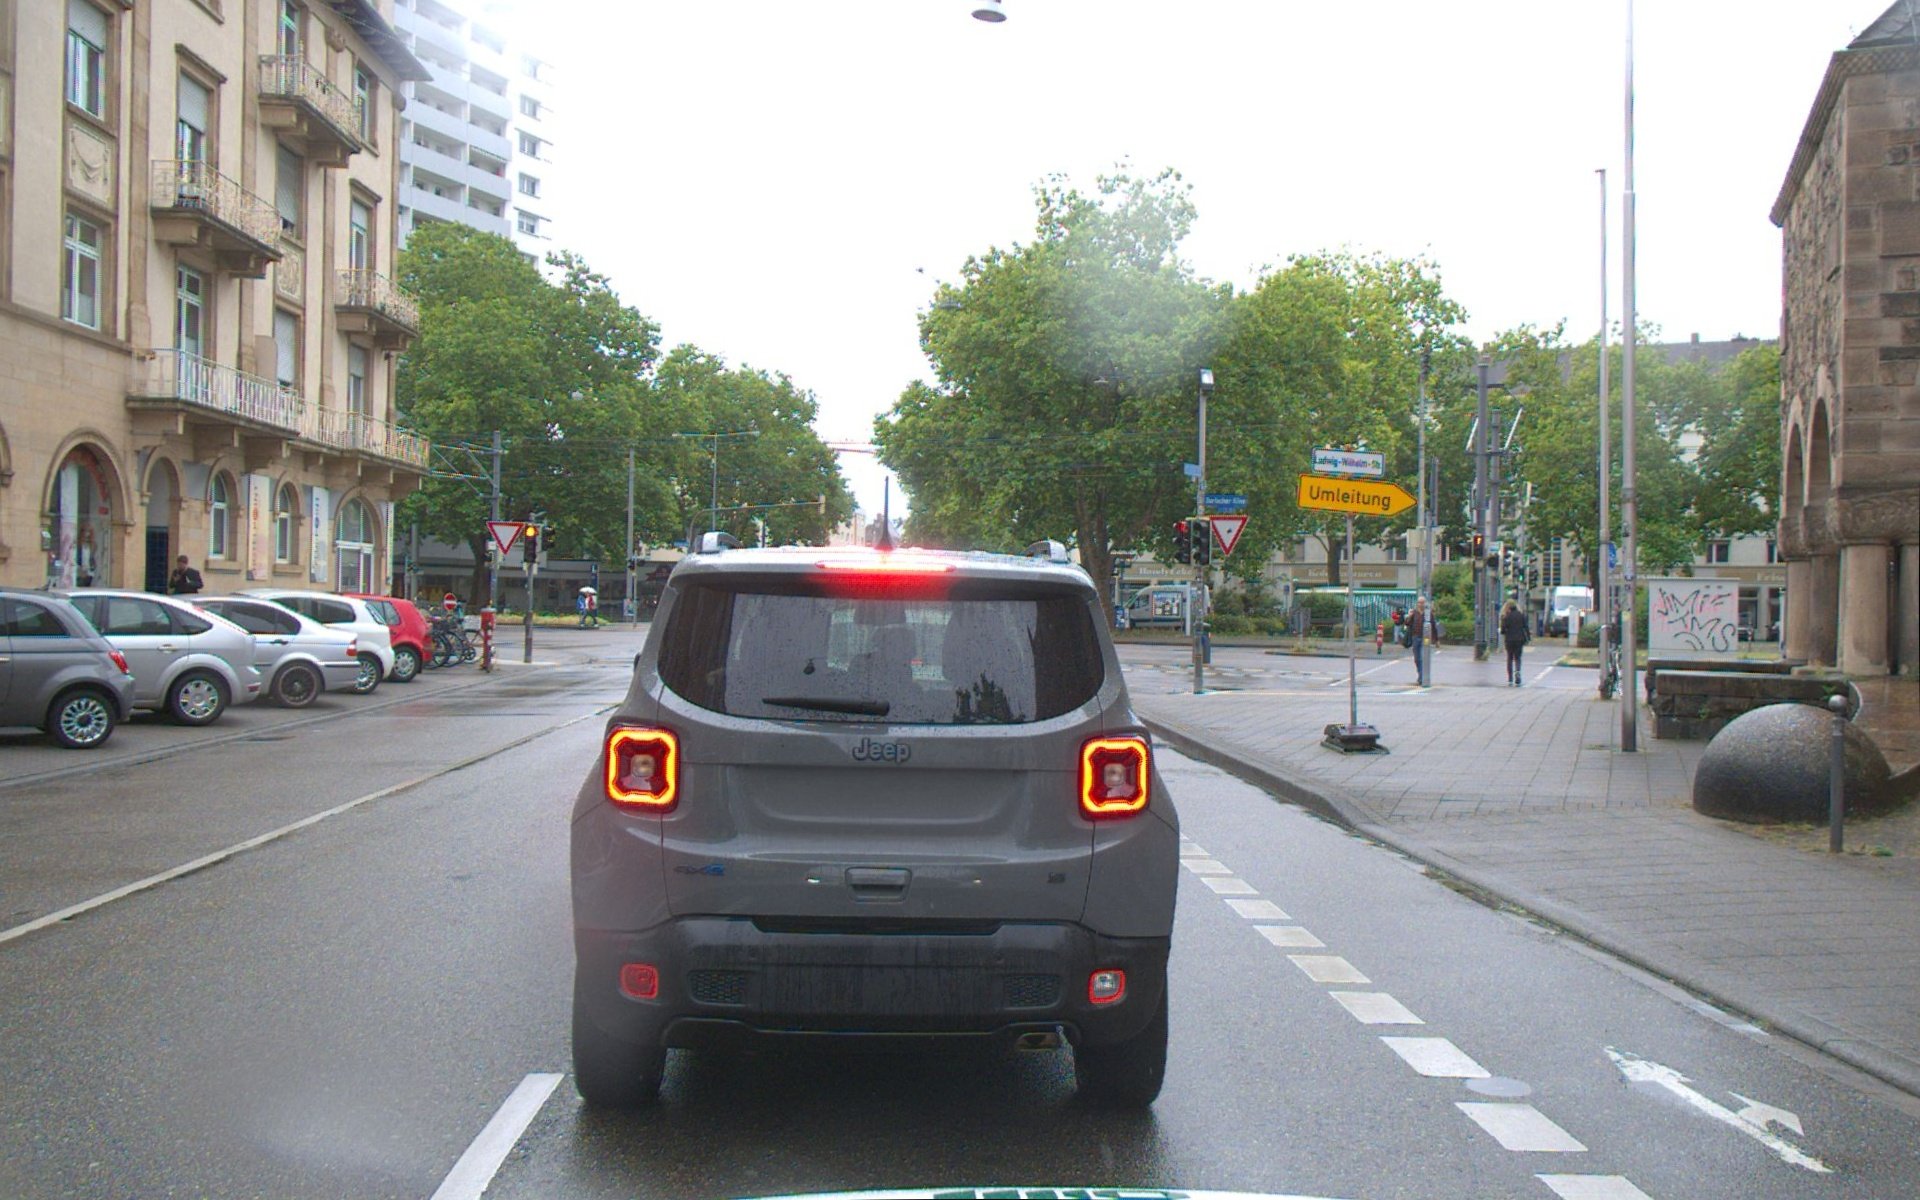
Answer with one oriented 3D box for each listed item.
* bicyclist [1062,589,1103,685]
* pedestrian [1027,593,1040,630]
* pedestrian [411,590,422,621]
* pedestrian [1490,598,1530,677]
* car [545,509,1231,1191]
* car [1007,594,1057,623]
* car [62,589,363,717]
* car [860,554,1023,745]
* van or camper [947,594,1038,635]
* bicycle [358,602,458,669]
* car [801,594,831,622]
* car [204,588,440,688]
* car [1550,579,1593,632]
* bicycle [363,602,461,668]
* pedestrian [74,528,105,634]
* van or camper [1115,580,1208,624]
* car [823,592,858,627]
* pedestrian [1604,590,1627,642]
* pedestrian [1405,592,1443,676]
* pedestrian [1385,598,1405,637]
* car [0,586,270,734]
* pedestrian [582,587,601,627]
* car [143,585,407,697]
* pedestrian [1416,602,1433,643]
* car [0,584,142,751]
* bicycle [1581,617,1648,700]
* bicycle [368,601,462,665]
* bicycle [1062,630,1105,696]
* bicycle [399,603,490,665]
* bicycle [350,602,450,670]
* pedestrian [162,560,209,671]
[{"bbox_3d":[2.124,0.629,28.730,0.672,1.646,0.884,0,0,3],"label":"bicyclist"},{"bbox_3d":[4.112,0.646,92.659,0.637,2.049,0.483,1,0,11],"label":"pedestrian"},{"bbox_3d":[-28.021,0.291,85.276,0.434,1.556,0.641,1,0,-13],"label":"pedestrian"},{"bbox_3d":[11.875,0.797,35.693,0.767,1.674,0.655,0,0,23],"label":"pedestrian"},{"bbox_3d":[-0.241,0.625,6.140,1.739,1.716,3.846,0,0,-2],"label":"car"},{"bbox_3d":[5.206,0.601,119.564,3.363,2.049,1.549,0,-1,12],"label":"car"},{"bbox_3d":[-10.006,0.666,22.241,3.372,1.585,1.681,1,0,-41],"label":"car"},{"bbox_3d":[-0.241,0.530,19.818,1.734,2.049,3.999,1,0,-1],"label":"car"},{"bbox_3d":[2.428,1.061,124.772,6.395,2.963,2.493,0,0,24],"label":"van or camper"},{"bbox_3d":[-10.784,0.685,32.332,1.774,1.288,0.498,0,0,-3],"label":"bicycle"},{"bbox_3d":[-8.833,0.488,101.474,1.779,1.700,3.916,1,0,-5],"label":"car"},{"bbox_3d":[-10.747,0.608,27.954,3.372,1.585,1.681,1,0,-41],"label":"car"},{"bbox_3d":[31.207,0.284,84.332,1.868,2.600,4.786,0,0,22],"label":"car"},{"bbox_3d":[-10.925,0.693,33.013,1.774,1.288,0.498,0,0,-3],"label":"bicycle"},{"bbox_3d":[-15.371,-0.327,29.197,0.359,1.854,0.347,0,-1,-4],"label":"pedestrian"},{"bbox_3d":[11.532,0.118,94.969,5.149,2.356,2.090,1,0,3],"label":"van or camper"},{"bbox_3d":[-6.127,0.471,84.469,1.688,1.769,3.726,1,0,-5],"label":"car"},{"bbox_3d":[25.684,0.623,64.838,0.789,2.049,0.589,0,0,26],"label":"pedestrian"},{"bbox_3d":[10.038,0.729,35.808,0.769,1.790,0.946,0,0,14],"label":"pedestrian"},{"bbox_3d":[17.854,0.735,67.890,0.660,1.581,0.761,0,-2,27],"label":"pedestrian"},{"bbox_3d":[-9.961,0.644,19.058,3.372,1.585,1.681,1,0,-41],"label":"car"},{"bbox_3d":[-17.292,0.331,77.565,0.605,1.858,0.694,0,0,19],"label":"pedestrian"},{"bbox_3d":[-10.360,0.588,25.093,3.372,1.585,1.681,1,0,-41],"label":"car"},{"bbox_3d":[18.692,0.900,66.530,0.600,1.631,0.494,0,0,23],"label":"pedestrian"},{"bbox_3d":[-9.966,0.629,16.030,3.372,1.585,1.628,1,0,-41],"label":"car"},{"bbox_3d":[9.839,0.851,24.914,0.322,1.174,2.076,0,0,4],"label":"bicycle"},{"bbox_3d":[-11.198,0.674,34.036,1.728,1.288,0.608,0,0,-3],"label":"bicycle"},{"bbox_3d":[2.127,1.071,28.754,0.677,1.039,2.659,0,0,3],"label":"bicycle"},{"bbox_3d":[-10.878,0.721,34.921,1.728,1.288,0.608,0,0,-3],"label":"bicycle"},{"bbox_3d":[-10.756,0.694,31.785,1.728,1.288,0.522,0,0,-3],"label":"bicycle"},{"bbox_3d":[-14.493,0.281,30.956,0.556,2.049,0.654,1,0,-1],"label":"pedestrian"}]
